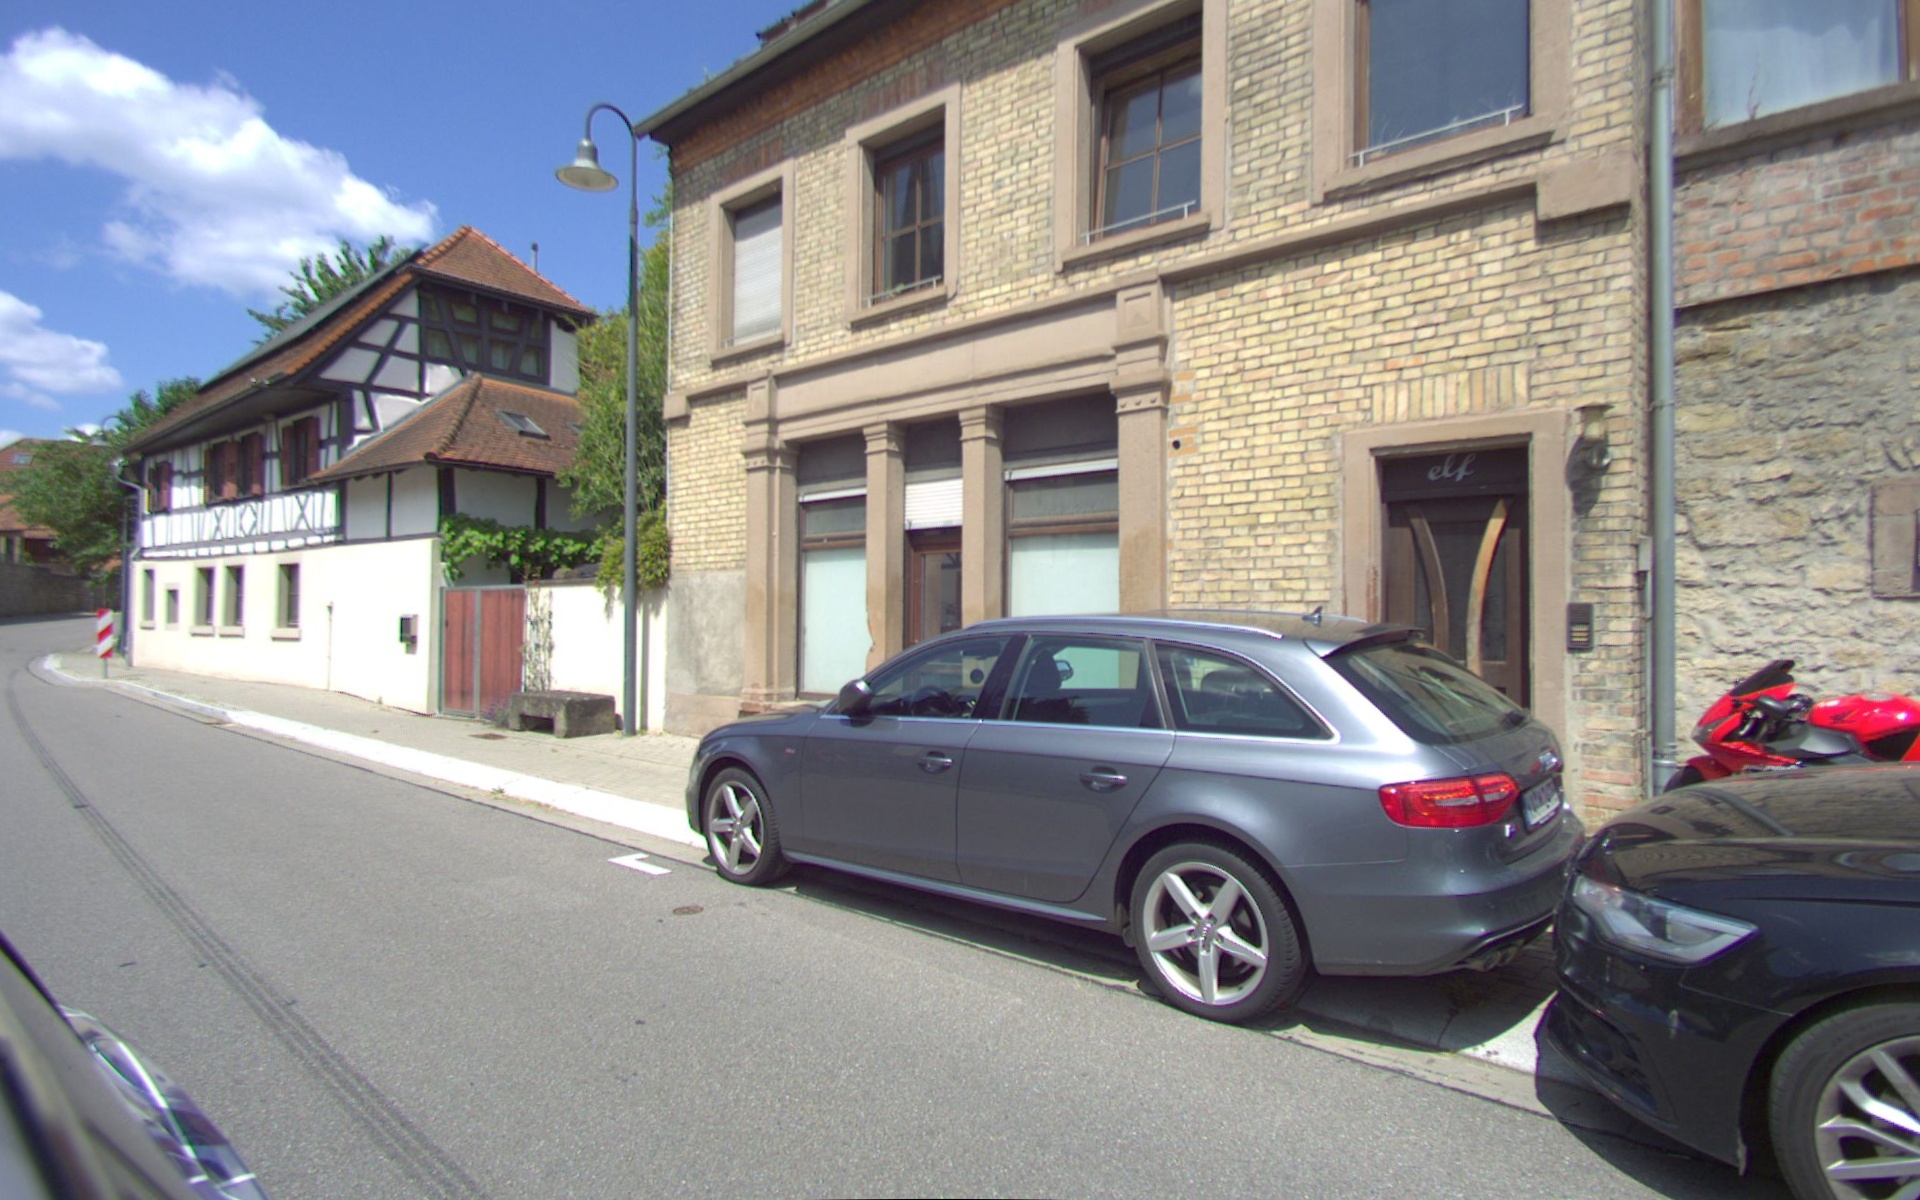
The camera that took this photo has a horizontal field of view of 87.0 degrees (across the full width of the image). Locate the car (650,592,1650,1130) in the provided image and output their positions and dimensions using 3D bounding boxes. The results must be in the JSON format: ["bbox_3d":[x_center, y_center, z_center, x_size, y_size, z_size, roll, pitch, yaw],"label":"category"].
[{"bbox_3d":[0.571,0.727,5.022,4.543,1.477,1.936,0,-1,41],"label":"car"}]

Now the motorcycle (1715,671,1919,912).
[{"bbox_3d":[4.567,0.882,4.546,1.857,1.008,0.413,0,3,41],"label":"motorcycle"}]

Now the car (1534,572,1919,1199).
[{"bbox_3d":[3.765,0.635,1.569,4.669,1.475,1.864,-2,0,43],"label":"car"}]
